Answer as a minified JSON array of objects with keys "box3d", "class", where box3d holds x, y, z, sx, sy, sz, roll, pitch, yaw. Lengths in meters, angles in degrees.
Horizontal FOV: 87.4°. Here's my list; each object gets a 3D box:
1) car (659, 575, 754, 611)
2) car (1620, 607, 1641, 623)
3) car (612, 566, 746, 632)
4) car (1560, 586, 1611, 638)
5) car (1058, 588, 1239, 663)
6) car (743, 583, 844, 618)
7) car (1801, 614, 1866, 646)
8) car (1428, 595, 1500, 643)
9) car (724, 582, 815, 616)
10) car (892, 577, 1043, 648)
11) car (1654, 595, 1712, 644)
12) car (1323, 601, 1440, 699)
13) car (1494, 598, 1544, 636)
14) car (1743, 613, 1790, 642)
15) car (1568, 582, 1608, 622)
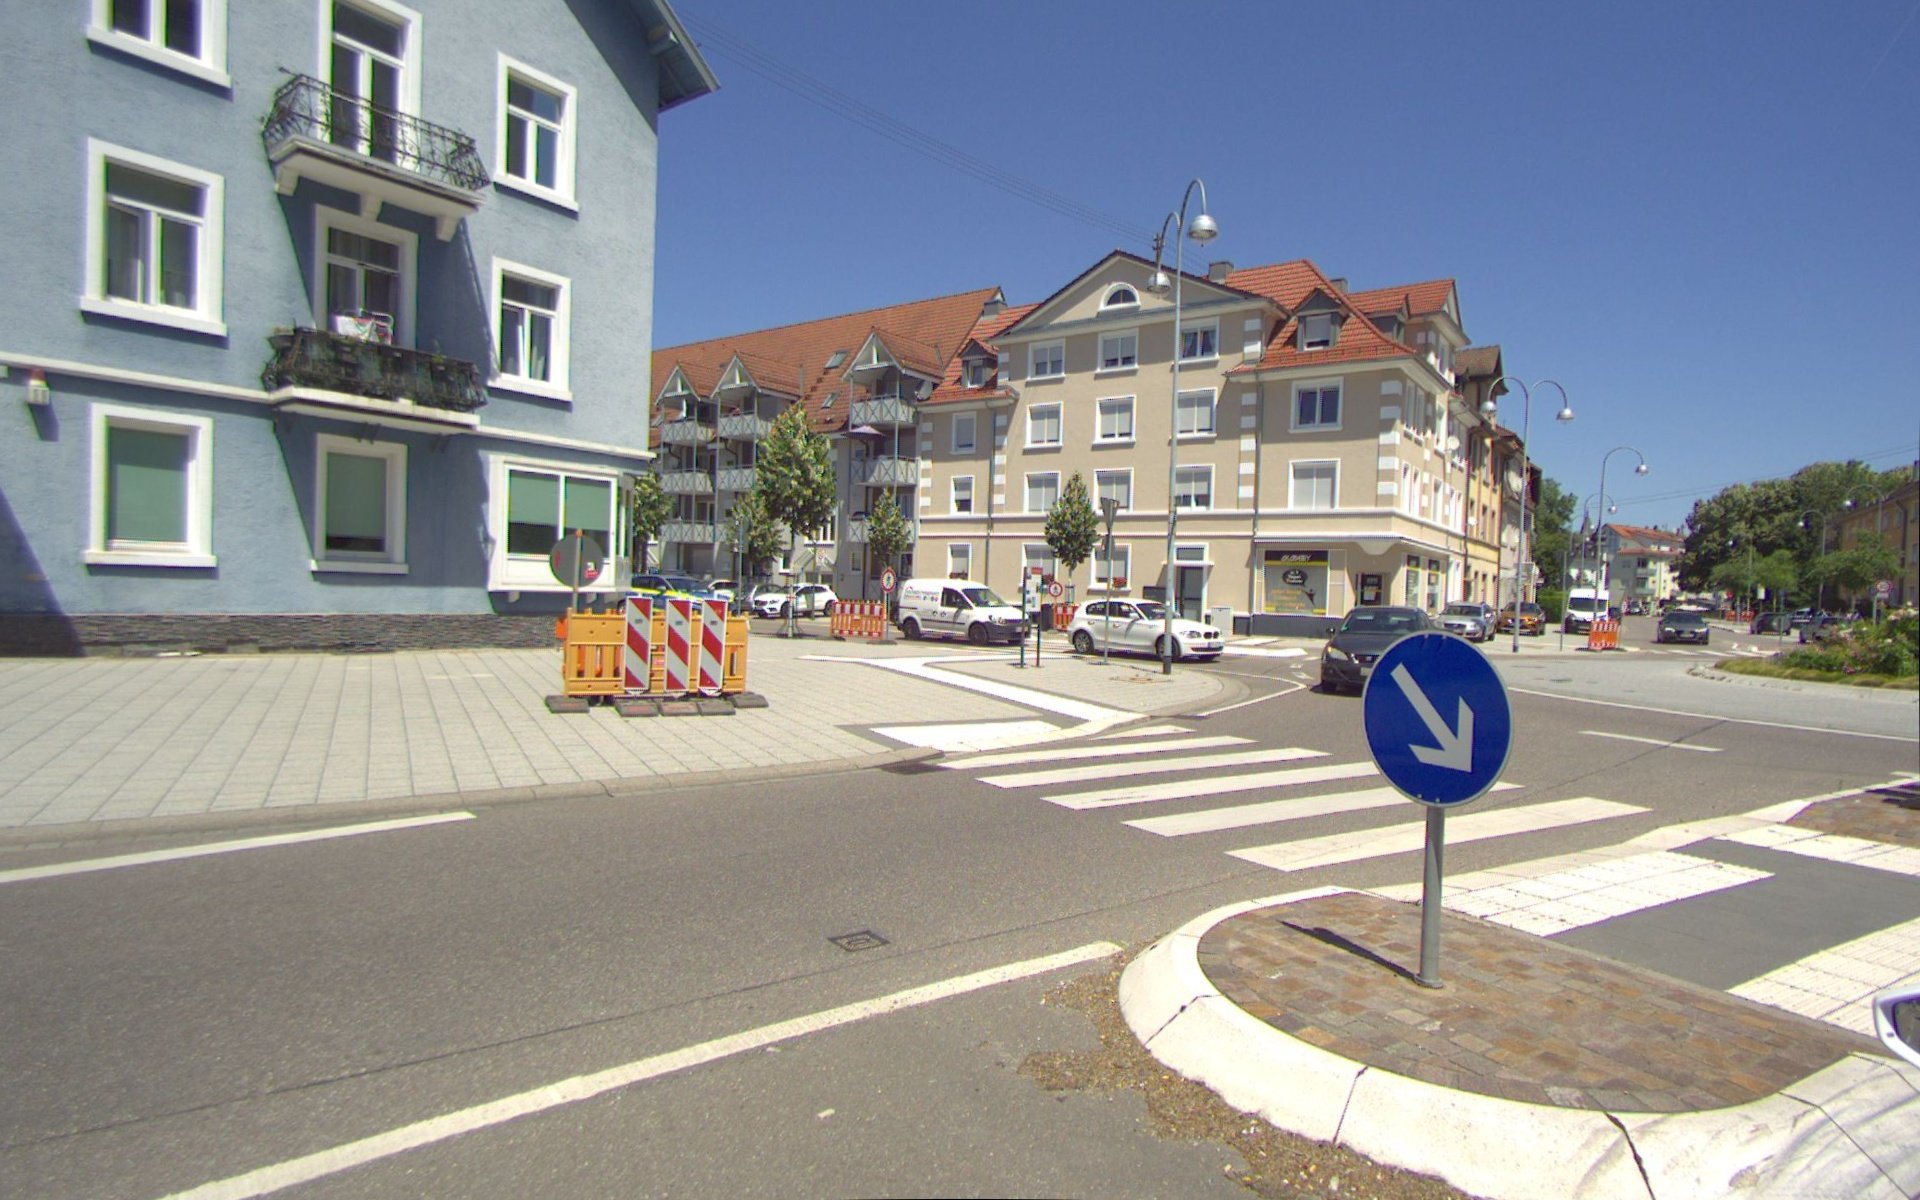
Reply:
[{"box3d":[-12.700,-0.344,50.525,1.951,1.692,4.355,1,0,38],"class":"car"},{"box3d":[81.872,1.871,122.628,1.786,1.818,3.992,4,2,30],"class":"car"},{"box3d":[-8.546,-0.063,30.370,4.177,1.801,1.774,3,1,39],"class":"car"},{"box3d":[34.820,0.658,55.830,2.115,2.566,6.220,5,2,33],"class":"car"},{"box3d":[4.533,0.579,24.601,1.774,1.572,4.076,2,1,-42],"class":"car"},{"box3d":[-7.562,0.050,45.949,1.951,1.512,4.391,1,0,38],"class":"car"},{"box3d":[46.633,1.561,53.689,1.786,1.520,3.992,4,2,30],"class":"car"},{"box3d":[19.779,0.715,39.306,1.752,1.708,4.678,3,1,35],"class":"car"},{"box3d":[-9.150,-0.032,48.497,1.951,1.512,4.065,1,0,38],"class":"car"},{"box3d":[0.148,0.324,28.865,4.181,1.801,1.772,3,1,42],"class":"car"},{"box3d":[33.403,0.896,46.421,1.967,2.040,3.986,4,2,36],"class":"car"},{"box3d":[7.494,0.770,17.666,1.634,1.472,4.018,0,1,27],"class":"car"},{"box3d":[27.169,0.823,48.762,1.577,1.638,4.077,5,2,36],"class":"car"},{"box3d":[54.579,1.844,68.059,1.786,1.818,3.992,4,2,30],"class":"car"},{"box3d":[43.650,0.141,69.751,2.115,2.566,4.841,5,2,33],"class":"car"}]
